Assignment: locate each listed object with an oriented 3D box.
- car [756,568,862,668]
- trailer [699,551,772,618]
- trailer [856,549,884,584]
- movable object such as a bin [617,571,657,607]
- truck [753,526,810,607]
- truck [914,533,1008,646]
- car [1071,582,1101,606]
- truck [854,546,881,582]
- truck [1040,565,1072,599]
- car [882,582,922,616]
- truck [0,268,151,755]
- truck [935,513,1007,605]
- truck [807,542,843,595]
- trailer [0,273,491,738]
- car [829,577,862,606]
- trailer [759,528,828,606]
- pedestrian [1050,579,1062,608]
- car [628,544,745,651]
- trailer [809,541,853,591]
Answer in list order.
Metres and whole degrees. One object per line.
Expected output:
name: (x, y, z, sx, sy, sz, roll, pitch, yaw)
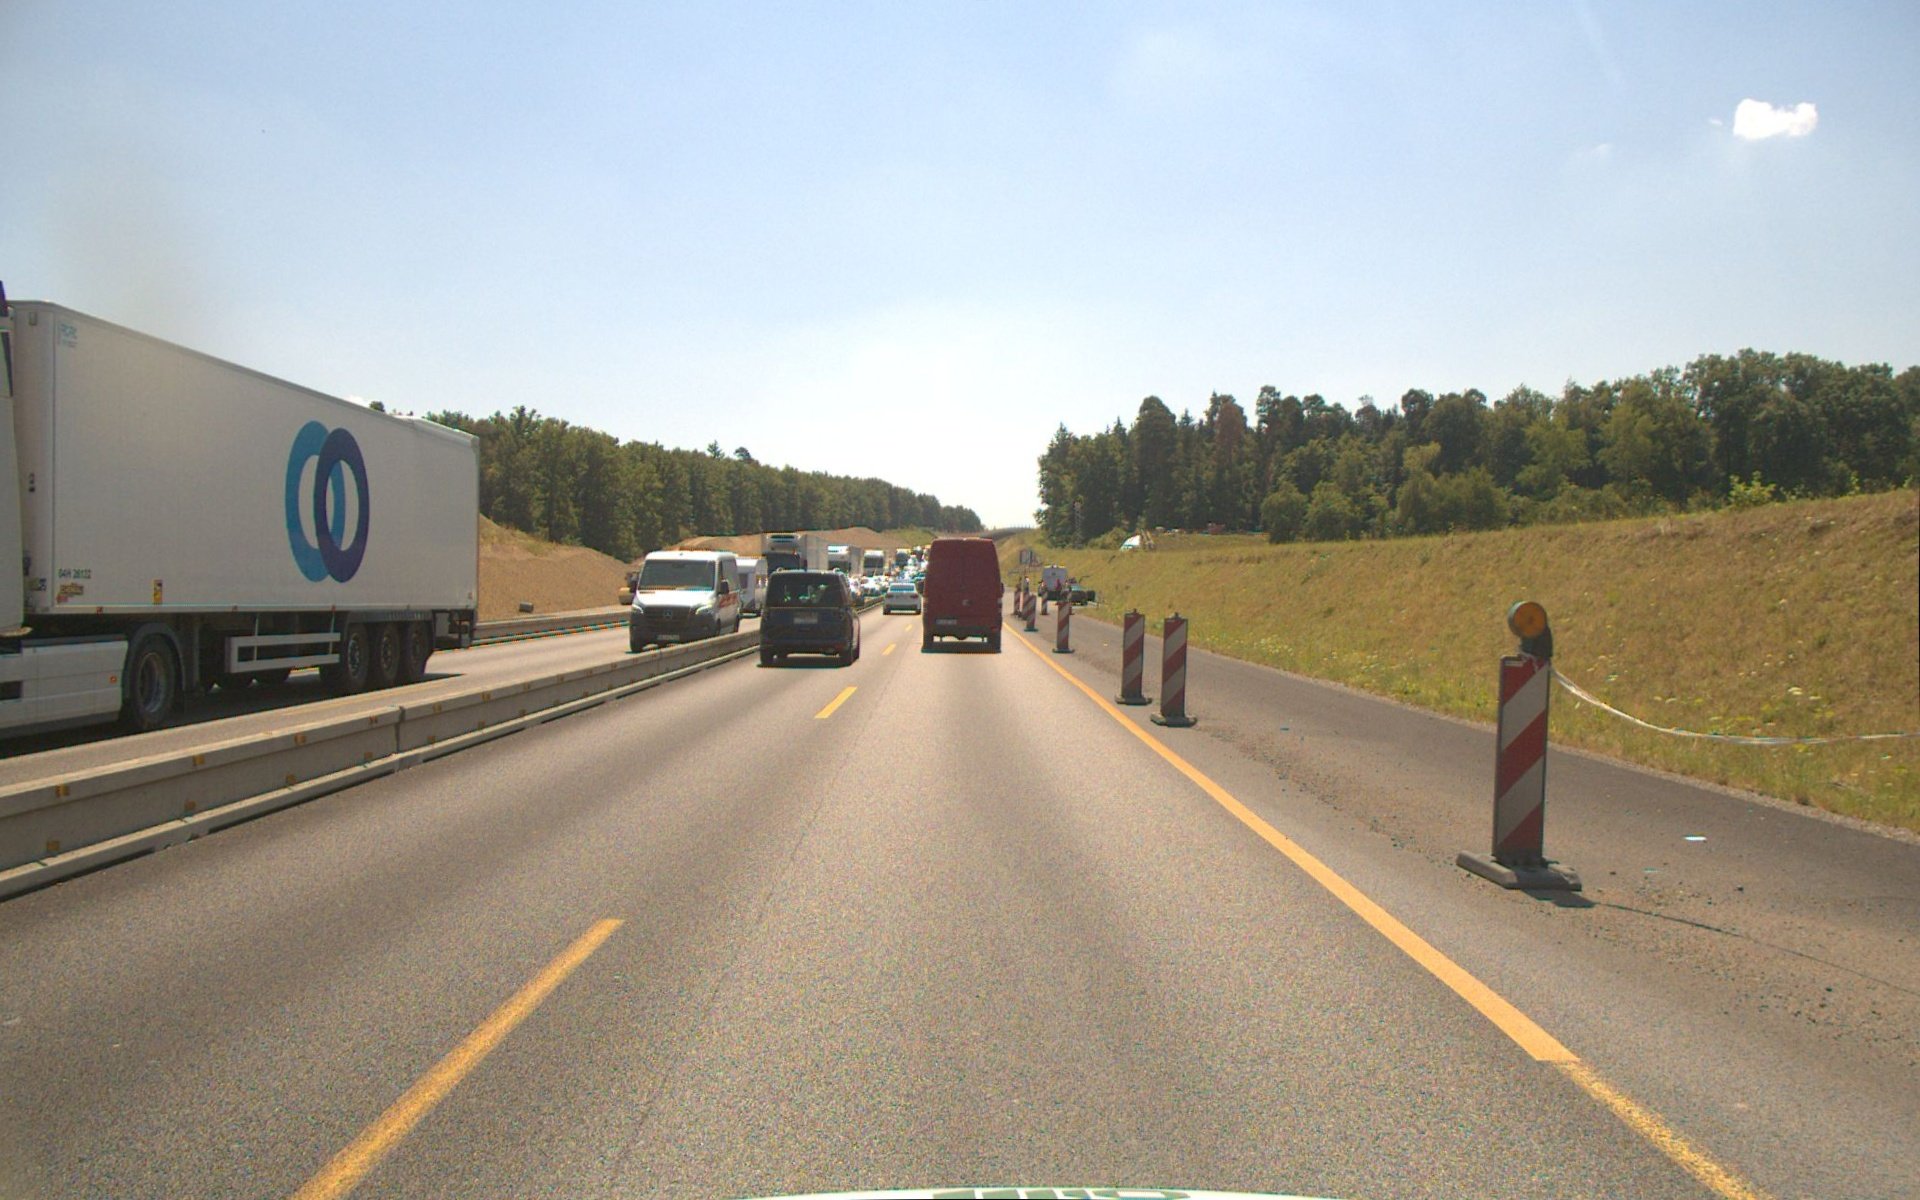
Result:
car: (-3.003, 0.304, 33.735, 1.715, 1.856, 4.782, 1, 1, 0)
trailer: (-9.789, -0.681, 72.637, 2.264, 2.733, 6.755, -1, 1, -1)
trailer: (-10.919, -4.055, 201.493, 2.734, 4.146, 13.710, 1, 1, 0)
movable object such as a bin: (-29.716, -1.051, 152.517, 2.124, 3.163, 7.165, -2, 1, 1)
truck: (-9.846, -1.825, 91.562, 2.440, 4.271, 5.912, -1, 0, 0)
truck: (-0.050, -0.246, 41.713, 2.110, 2.635, 5.331, 1, 0, -2)
car: (8.327, -0.418, 109.915, 1.620, 1.451, 4.545, -2, 1, 0)
truck: (-10.848, -4.203, 194.435, 2.712, 4.114, 4.943, 1, 0, 0)
truck: (7.472, -1.432, 128.109, 2.084, 2.499, 5.930, 1, 1, 7)
car: (-2.789, -0.040, 79.910, 1.794, 1.548, 3.961, 1, 0, 0)
truck: (-9.460, -0.732, 14.037, 2.790, 4.088, 4.858, -1, 0, -1)
truck: (0.641, -2.495, 109.612, 4.310, 5.592, 16.602, 1, 0, 0)
truck: (-10.842, -2.509, 133.424, 2.539, 4.124, 5.149, 1, 1, -1)
trailer: (-9.455, -0.834, 21.644, 2.796, 4.165, 13.651, -1, 0, 0)
car: (-6.736, -0.477, 97.910, 1.654, 1.642, 4.593, 1, 0, -1)
trailer: (-9.812, -1.905, 99.012, 2.451, 4.252, 15.534, -1, 1, 0)
pedestrian: (6.364, -0.439, 109.457, 0.631, 1.860, 0.555, 1, 1, -21)
car: (-6.403, -0.061, 39.281, 1.953, 2.332, 5.342, 1, 0, -1)
trailer: (-10.871, -2.827, 140.644, 2.599, 4.007, 13.995, 1, 1, 0)
